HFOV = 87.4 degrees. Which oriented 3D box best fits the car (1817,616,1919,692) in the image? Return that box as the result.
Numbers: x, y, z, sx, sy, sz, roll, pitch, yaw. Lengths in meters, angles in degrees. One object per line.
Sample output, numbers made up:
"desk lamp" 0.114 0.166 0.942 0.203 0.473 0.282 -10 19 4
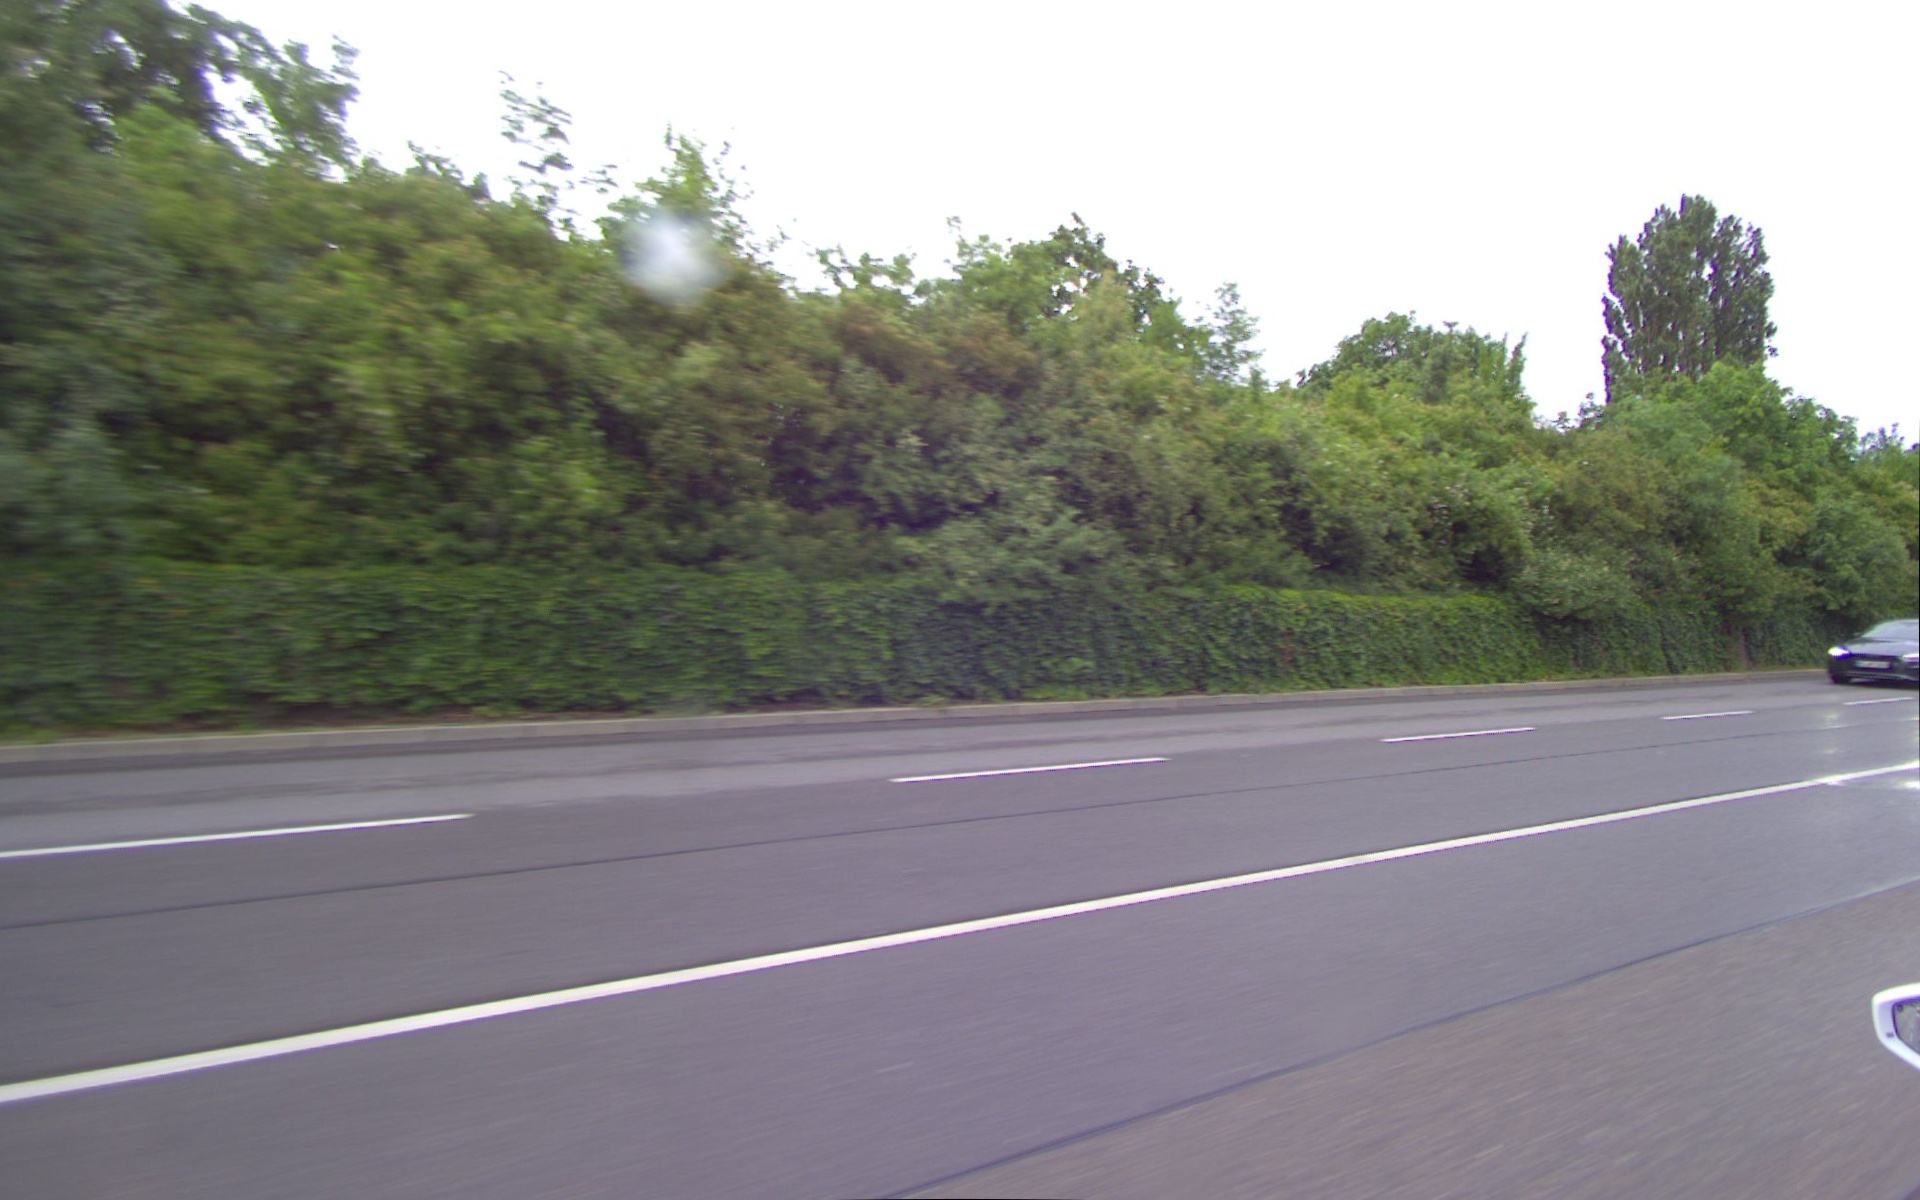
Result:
"car" 20.520 1.090 21.544 4.780 1.399 1.751 0 2 -30
